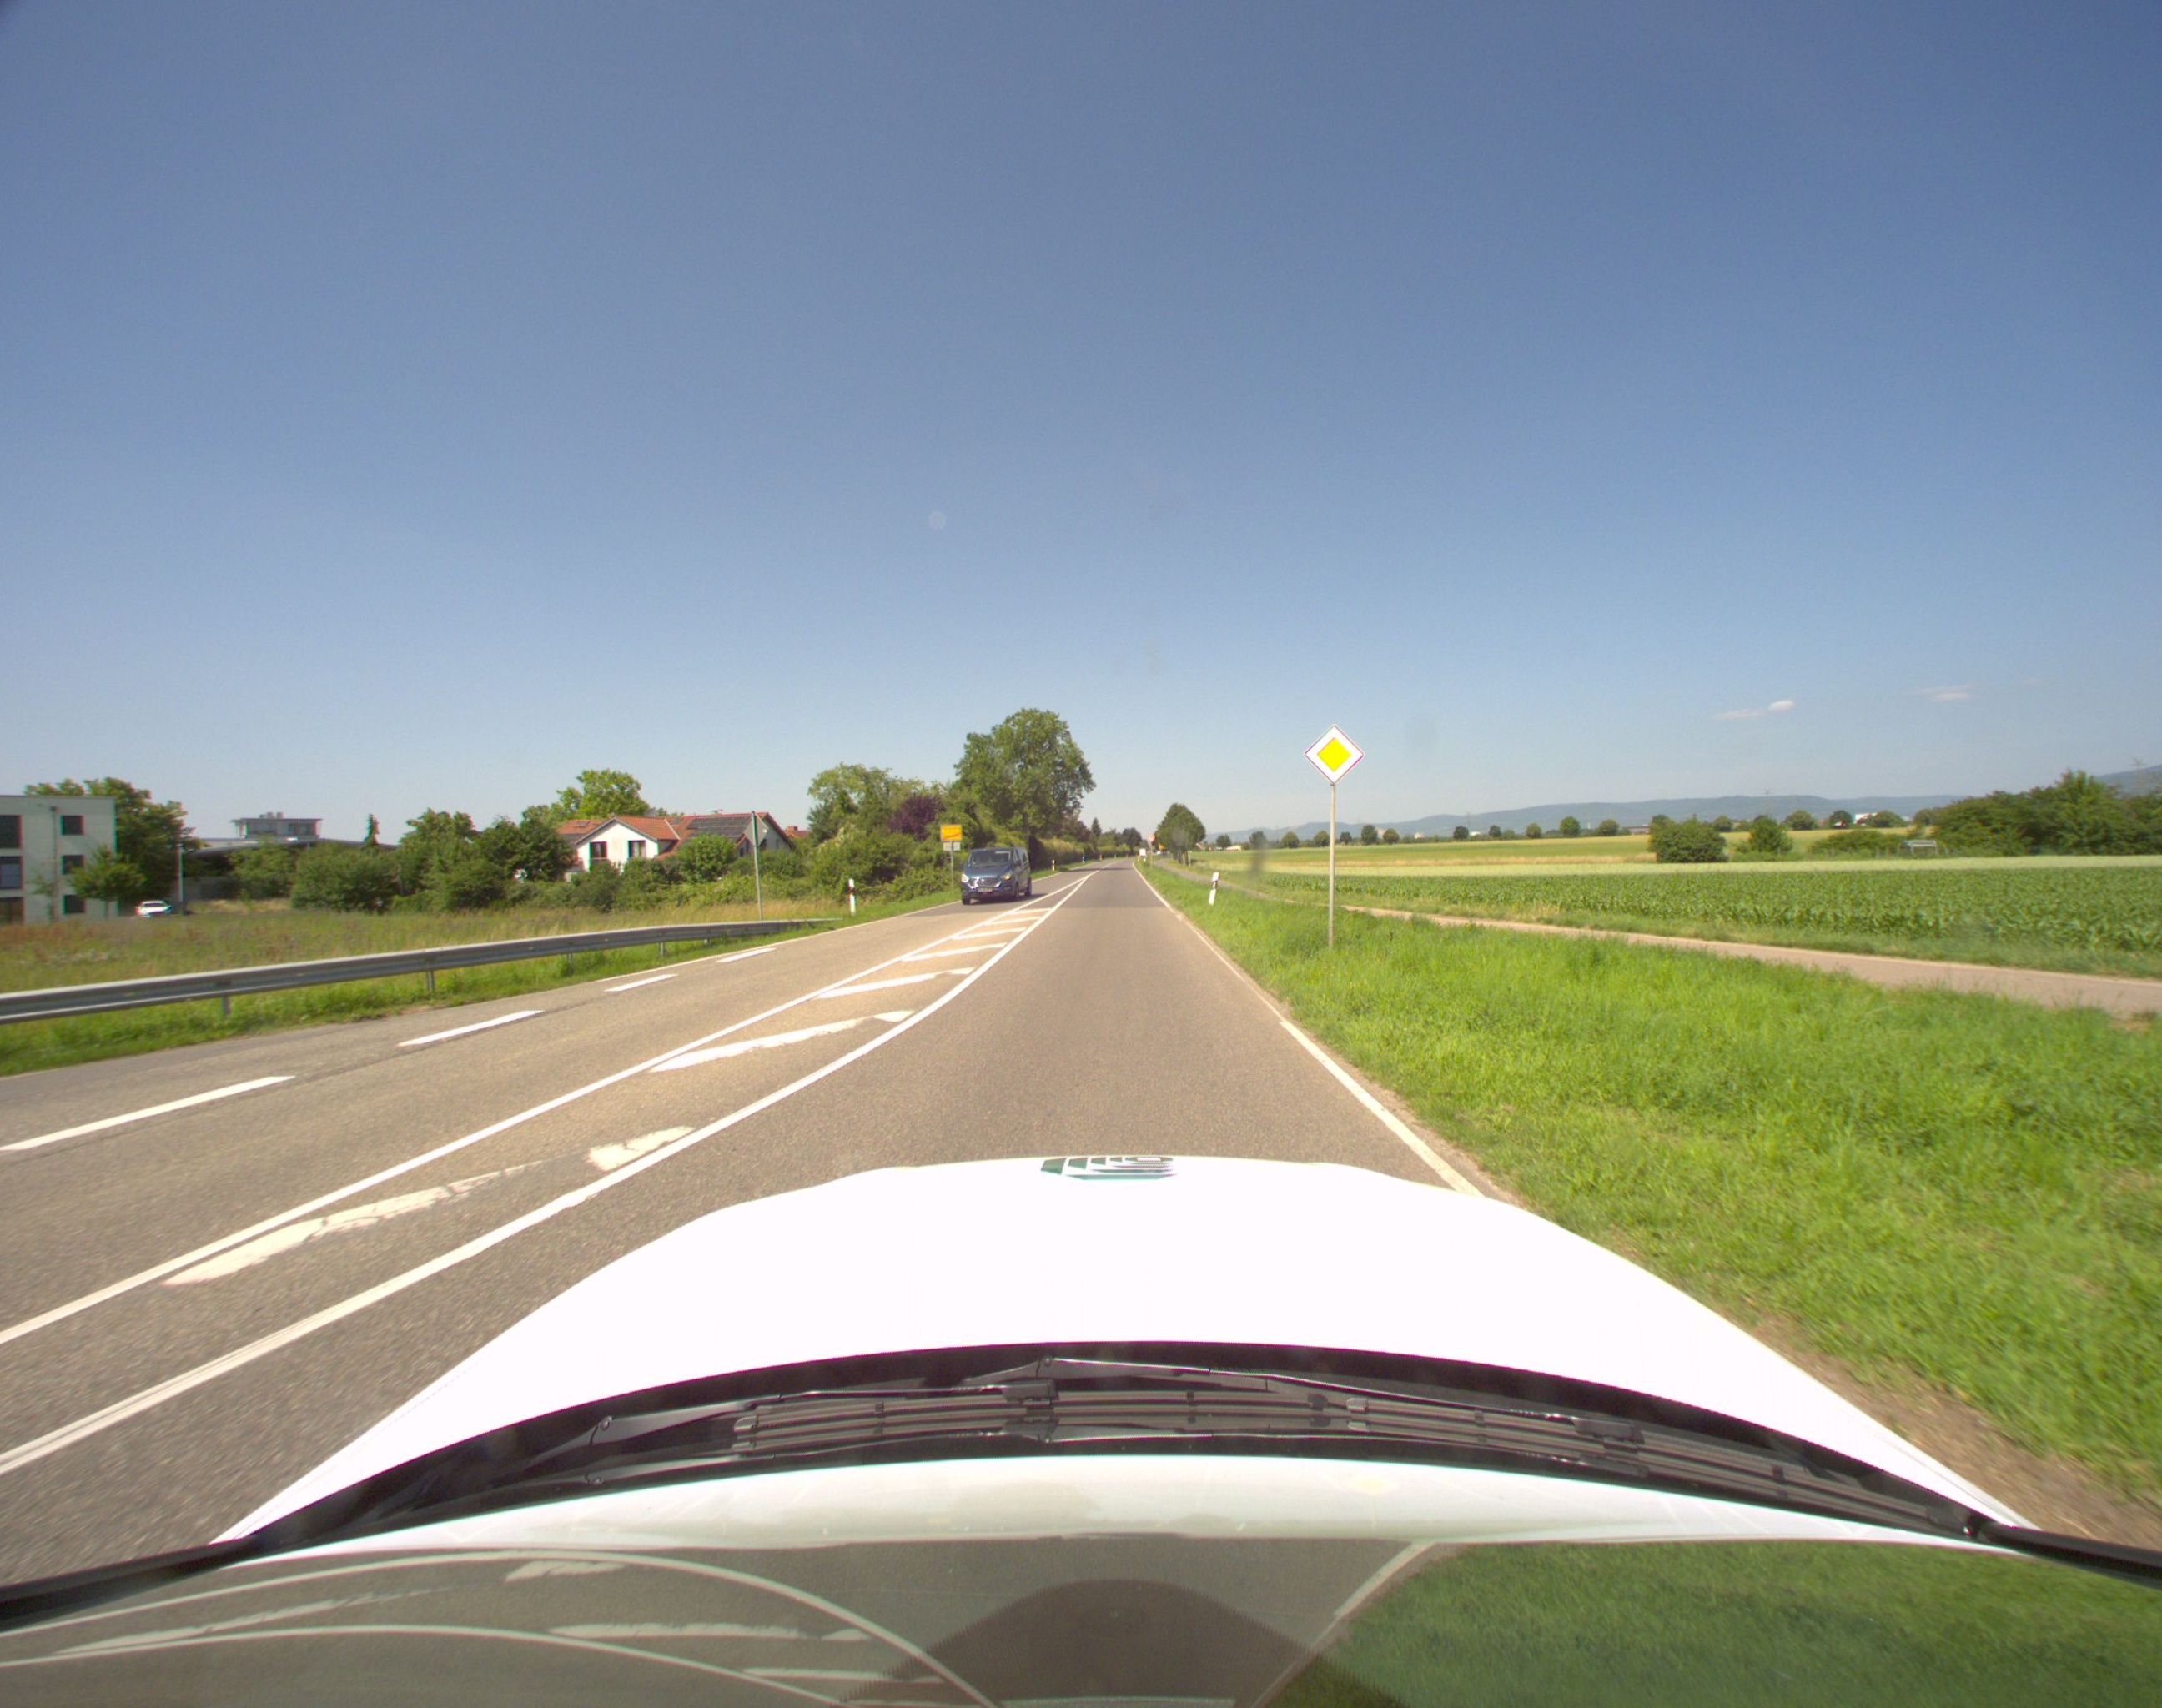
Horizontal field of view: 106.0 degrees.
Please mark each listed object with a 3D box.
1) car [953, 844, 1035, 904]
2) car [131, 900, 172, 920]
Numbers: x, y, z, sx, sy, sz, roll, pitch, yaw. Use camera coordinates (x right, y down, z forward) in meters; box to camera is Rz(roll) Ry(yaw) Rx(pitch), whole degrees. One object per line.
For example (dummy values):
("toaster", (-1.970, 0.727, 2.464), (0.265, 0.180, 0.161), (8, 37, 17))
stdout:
("car", (-3.121, 0.668, 30.296), (2.135, 1.951, 5.251), (-3, 0, 3))
("car", (-81.343, 4.881, 71.254), (3.948, 1.618, 1.837), (-2, 0, 34))
